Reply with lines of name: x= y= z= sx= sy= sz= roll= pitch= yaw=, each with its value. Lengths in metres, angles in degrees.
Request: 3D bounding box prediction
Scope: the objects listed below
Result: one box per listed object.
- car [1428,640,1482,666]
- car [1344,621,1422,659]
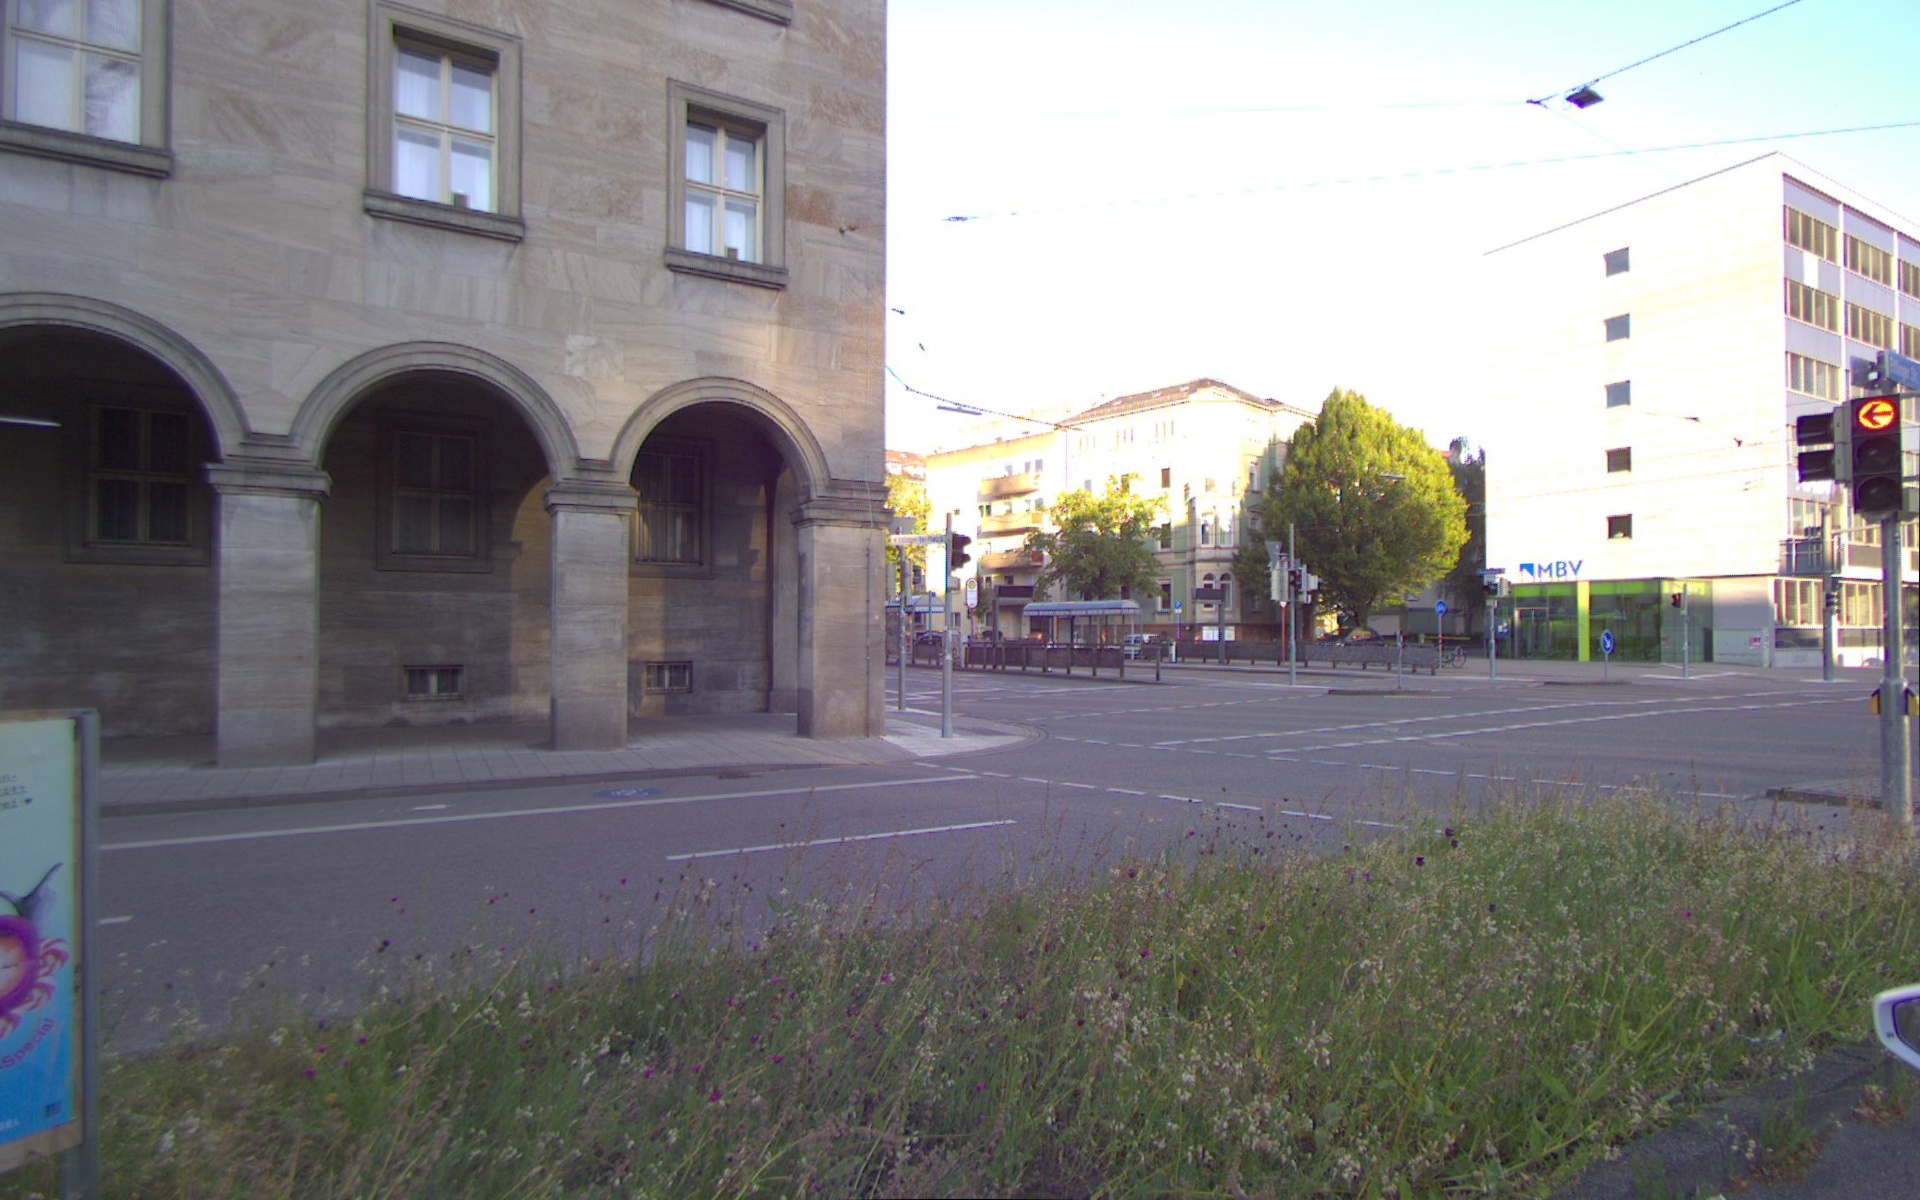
car: x=21.433 y=2.286 z=43.482 sx=2.492 sy=1.088 sz=0.849 roll=1 pitch=-2 yaw=-31
car: x=23.382 y=2.180 z=55.515 sx=3.954 sy=2.040 sz=1.984 roll=1 pitch=-2 yaw=-31
